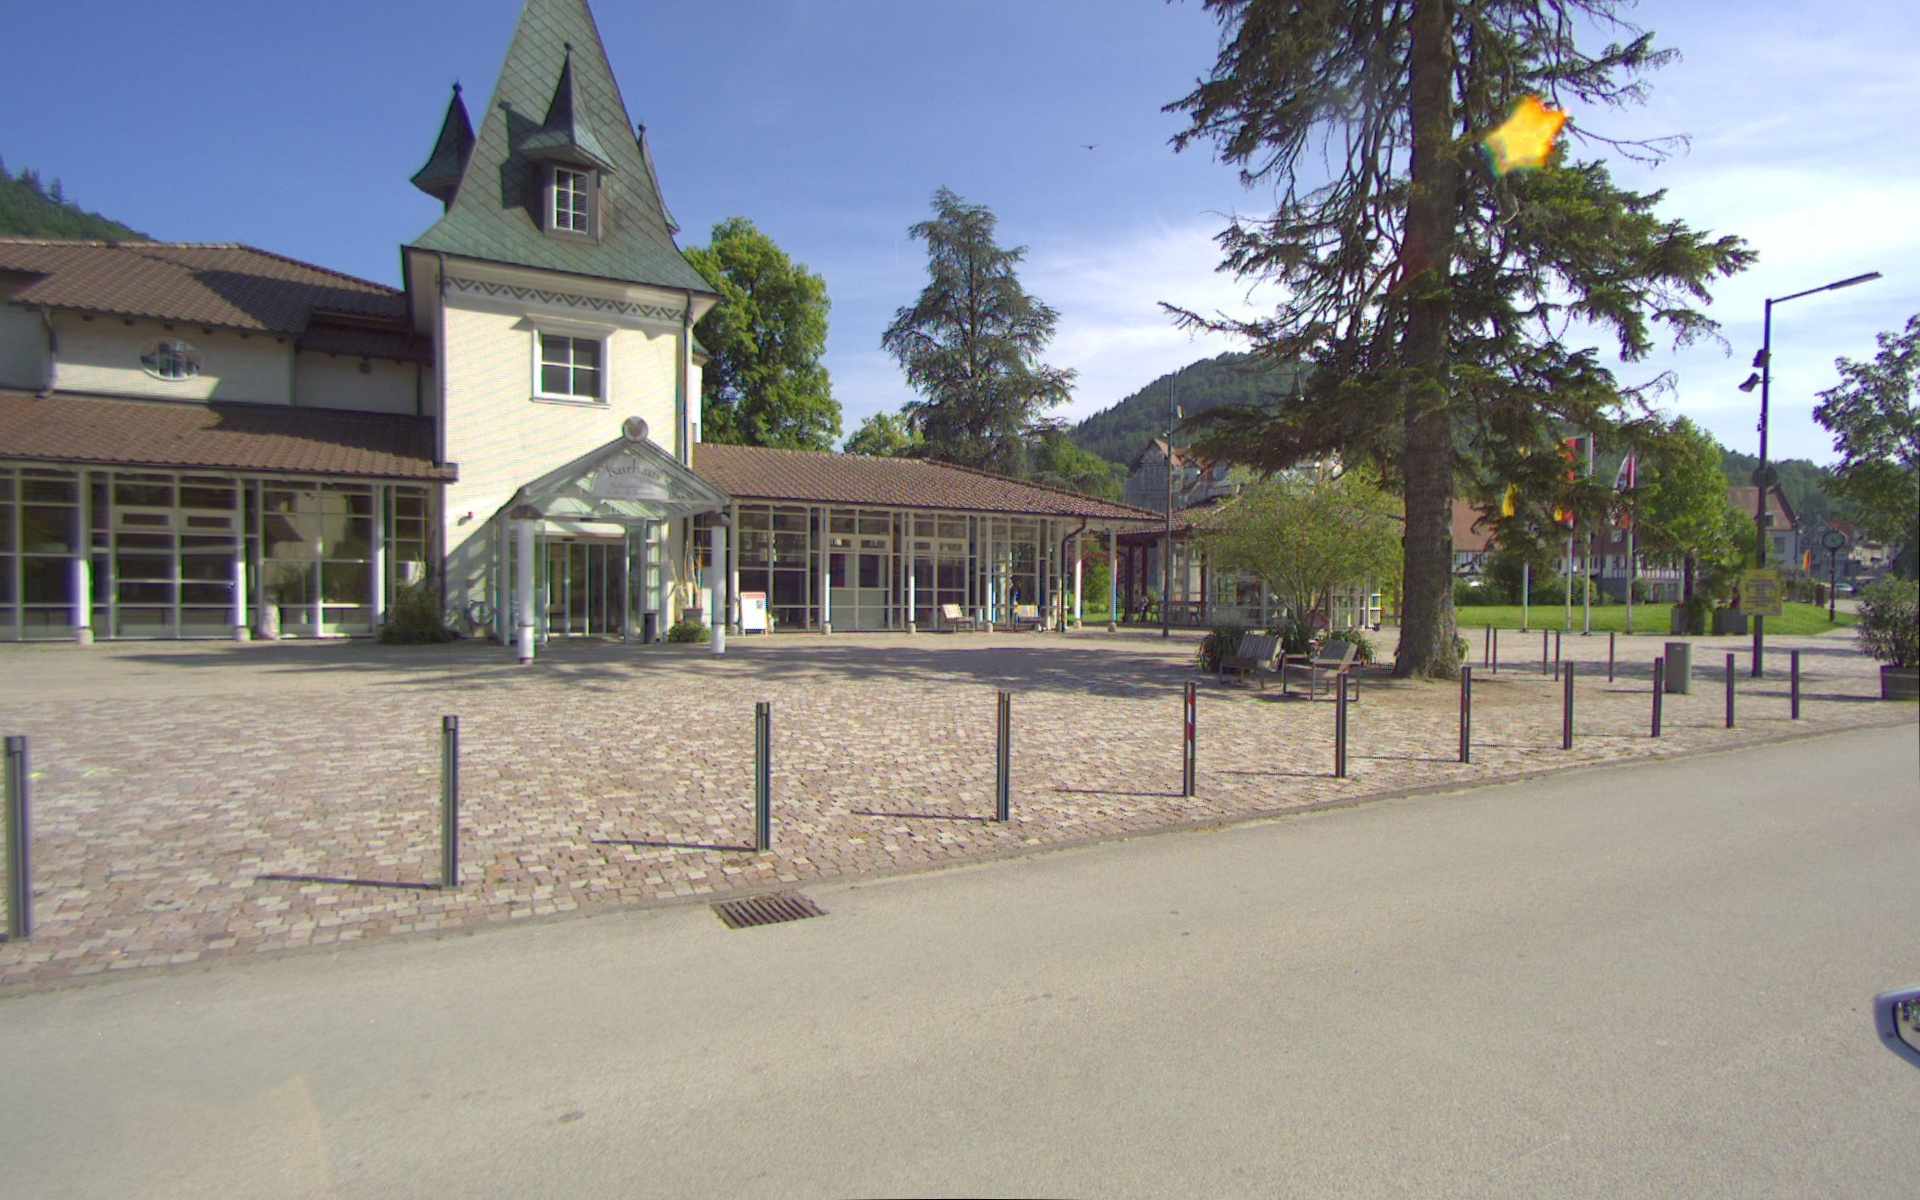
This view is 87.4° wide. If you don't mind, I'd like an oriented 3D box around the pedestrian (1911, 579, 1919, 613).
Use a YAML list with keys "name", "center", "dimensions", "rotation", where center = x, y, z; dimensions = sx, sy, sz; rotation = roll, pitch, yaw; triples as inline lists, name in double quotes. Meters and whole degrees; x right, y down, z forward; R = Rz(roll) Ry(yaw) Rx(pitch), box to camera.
- name: "pedestrian"
  center: [51.522, -0.205, 53.714]
  dimensions: [0.855, 1.839, 0.689]
  rotation: [1, 2, 35]
